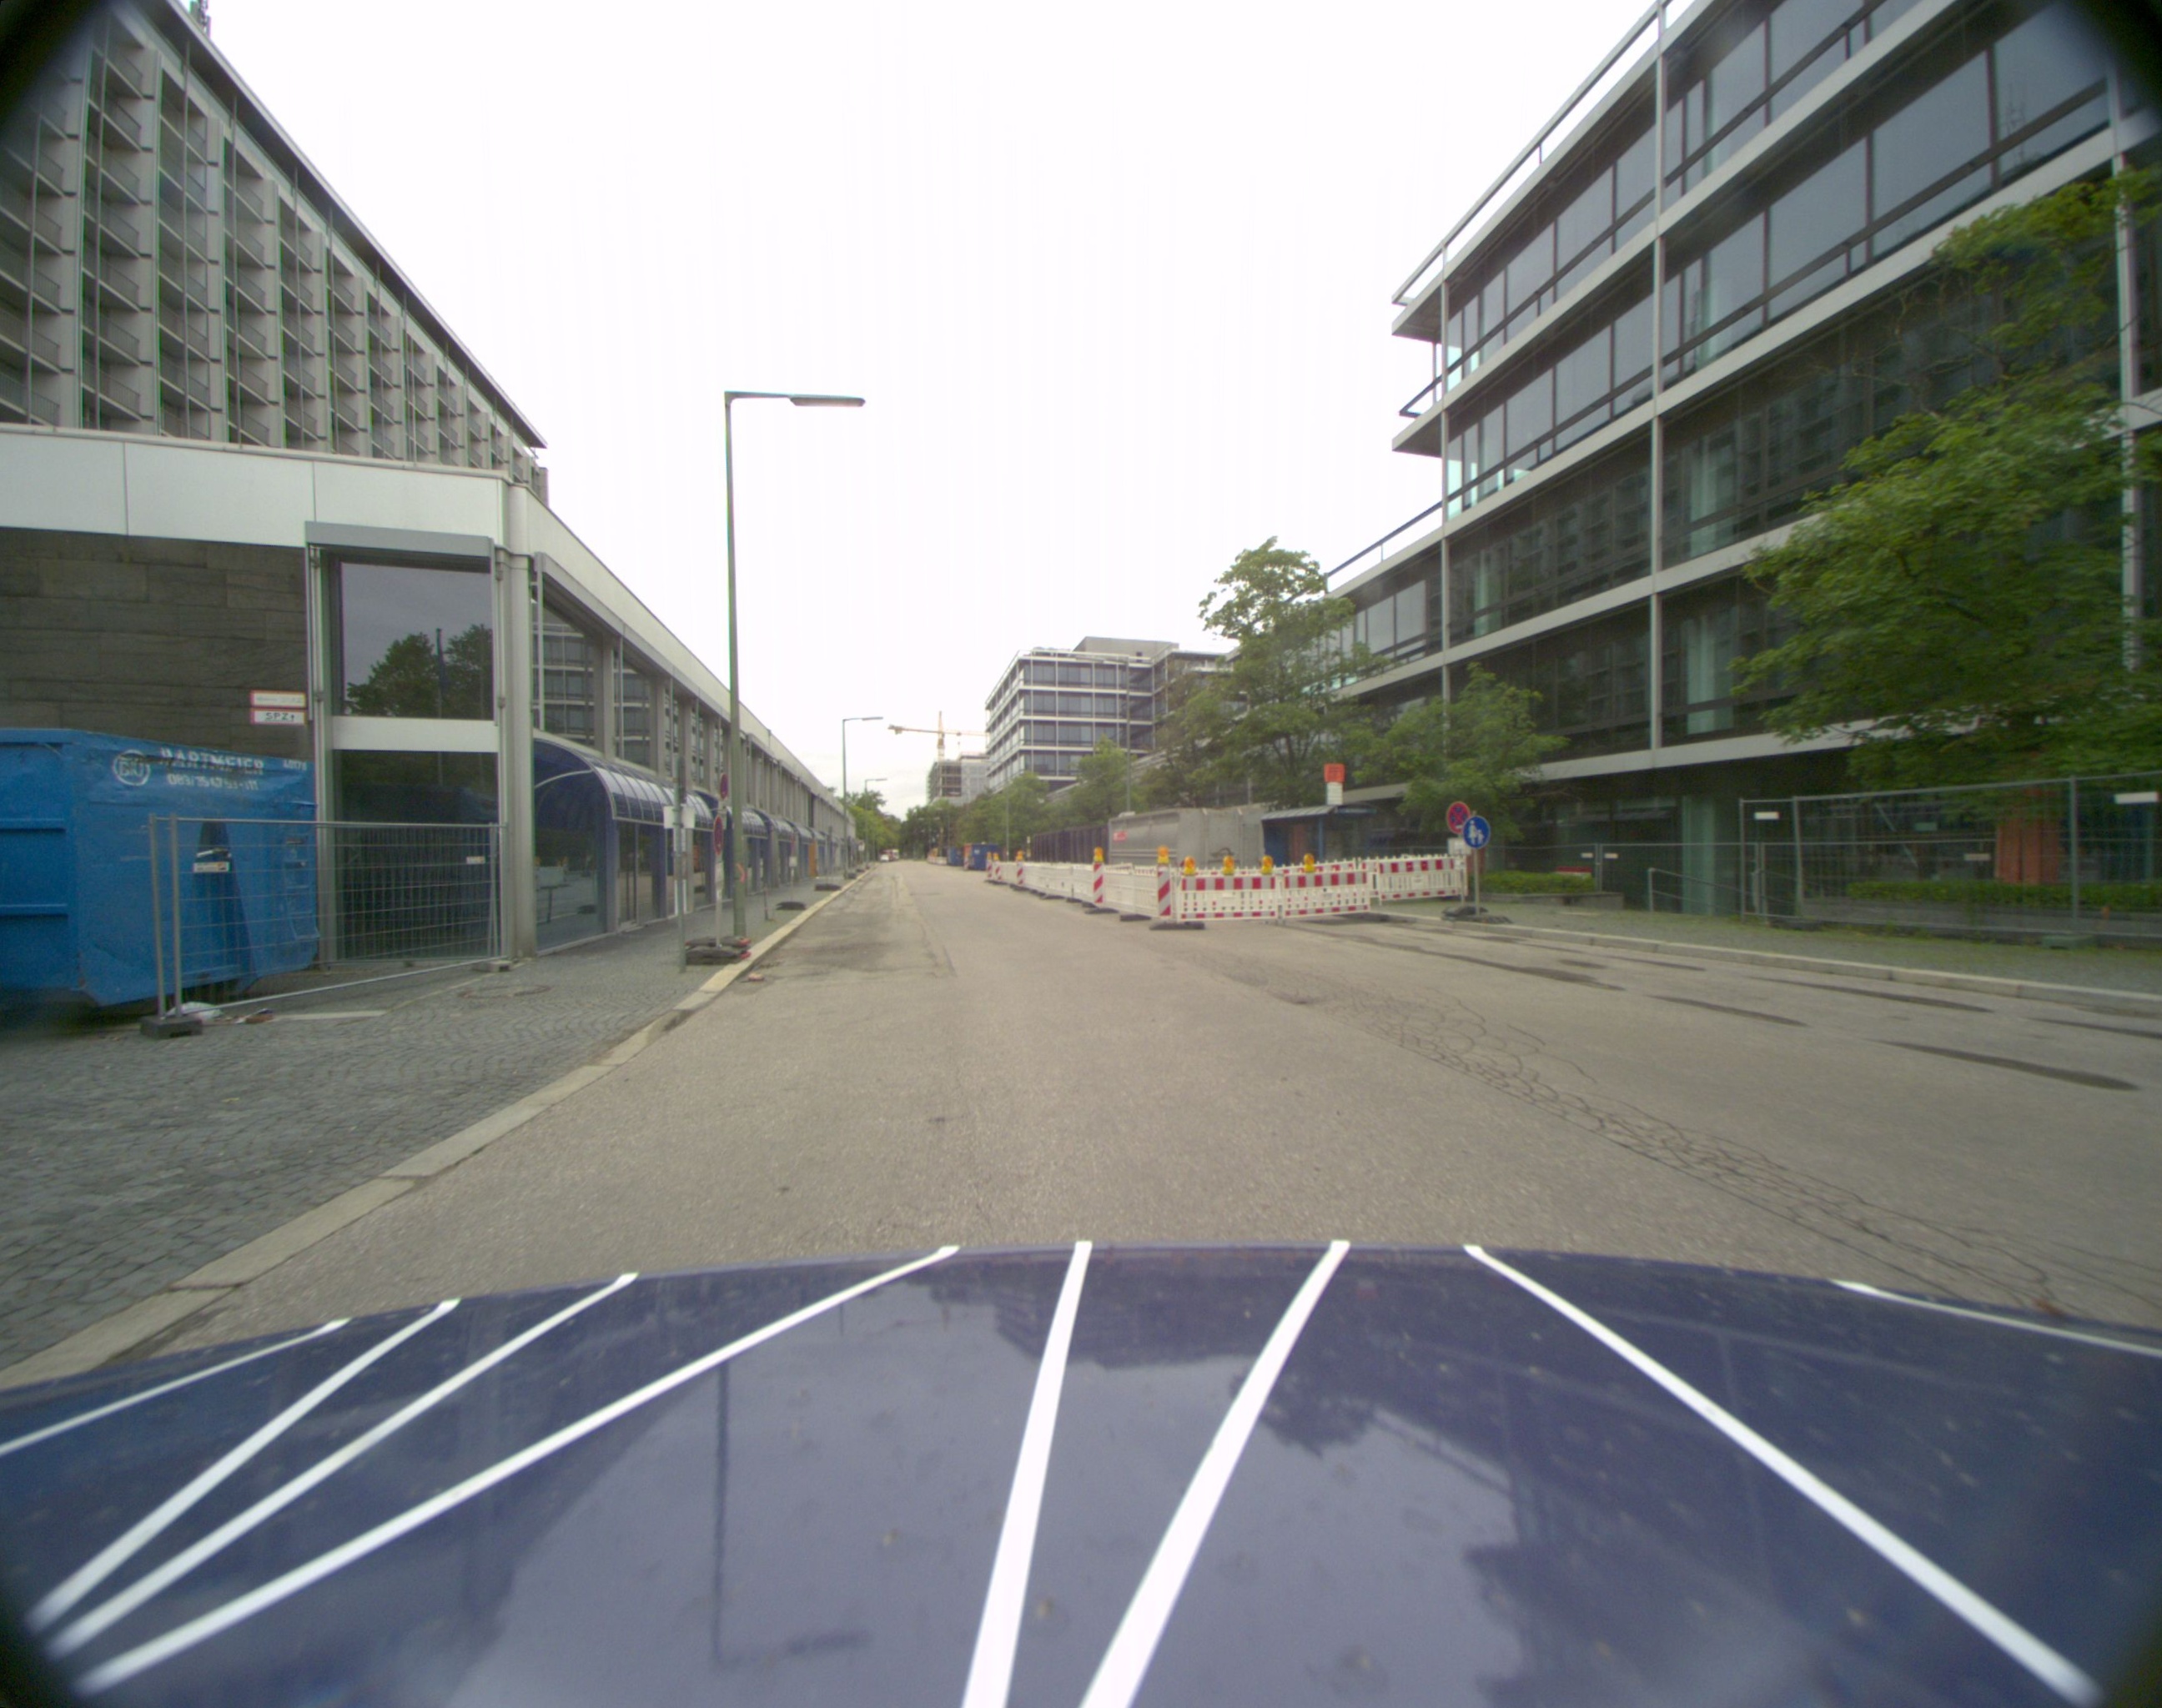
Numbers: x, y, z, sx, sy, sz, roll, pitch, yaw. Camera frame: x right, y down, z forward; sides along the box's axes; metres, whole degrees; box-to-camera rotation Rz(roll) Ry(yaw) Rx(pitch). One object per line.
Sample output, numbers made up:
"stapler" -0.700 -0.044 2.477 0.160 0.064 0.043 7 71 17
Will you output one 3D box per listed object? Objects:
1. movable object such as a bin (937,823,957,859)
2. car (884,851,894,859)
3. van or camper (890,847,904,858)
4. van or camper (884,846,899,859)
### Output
"movable object such as a bin" -24.183 -2.276 136.838 3.245 6.286 8.327 -1 1 -11
"car" -40.254 0.258 159.645 1.914 1.627 3.995 -1 1 -12
"van or camper" -43.558 -0.328 179.990 2.669 2.436 6.440 -1 1 -8
"van or camper" -41.361 -0.350 165.821 2.669 2.751 6.907 -1 1 -10
